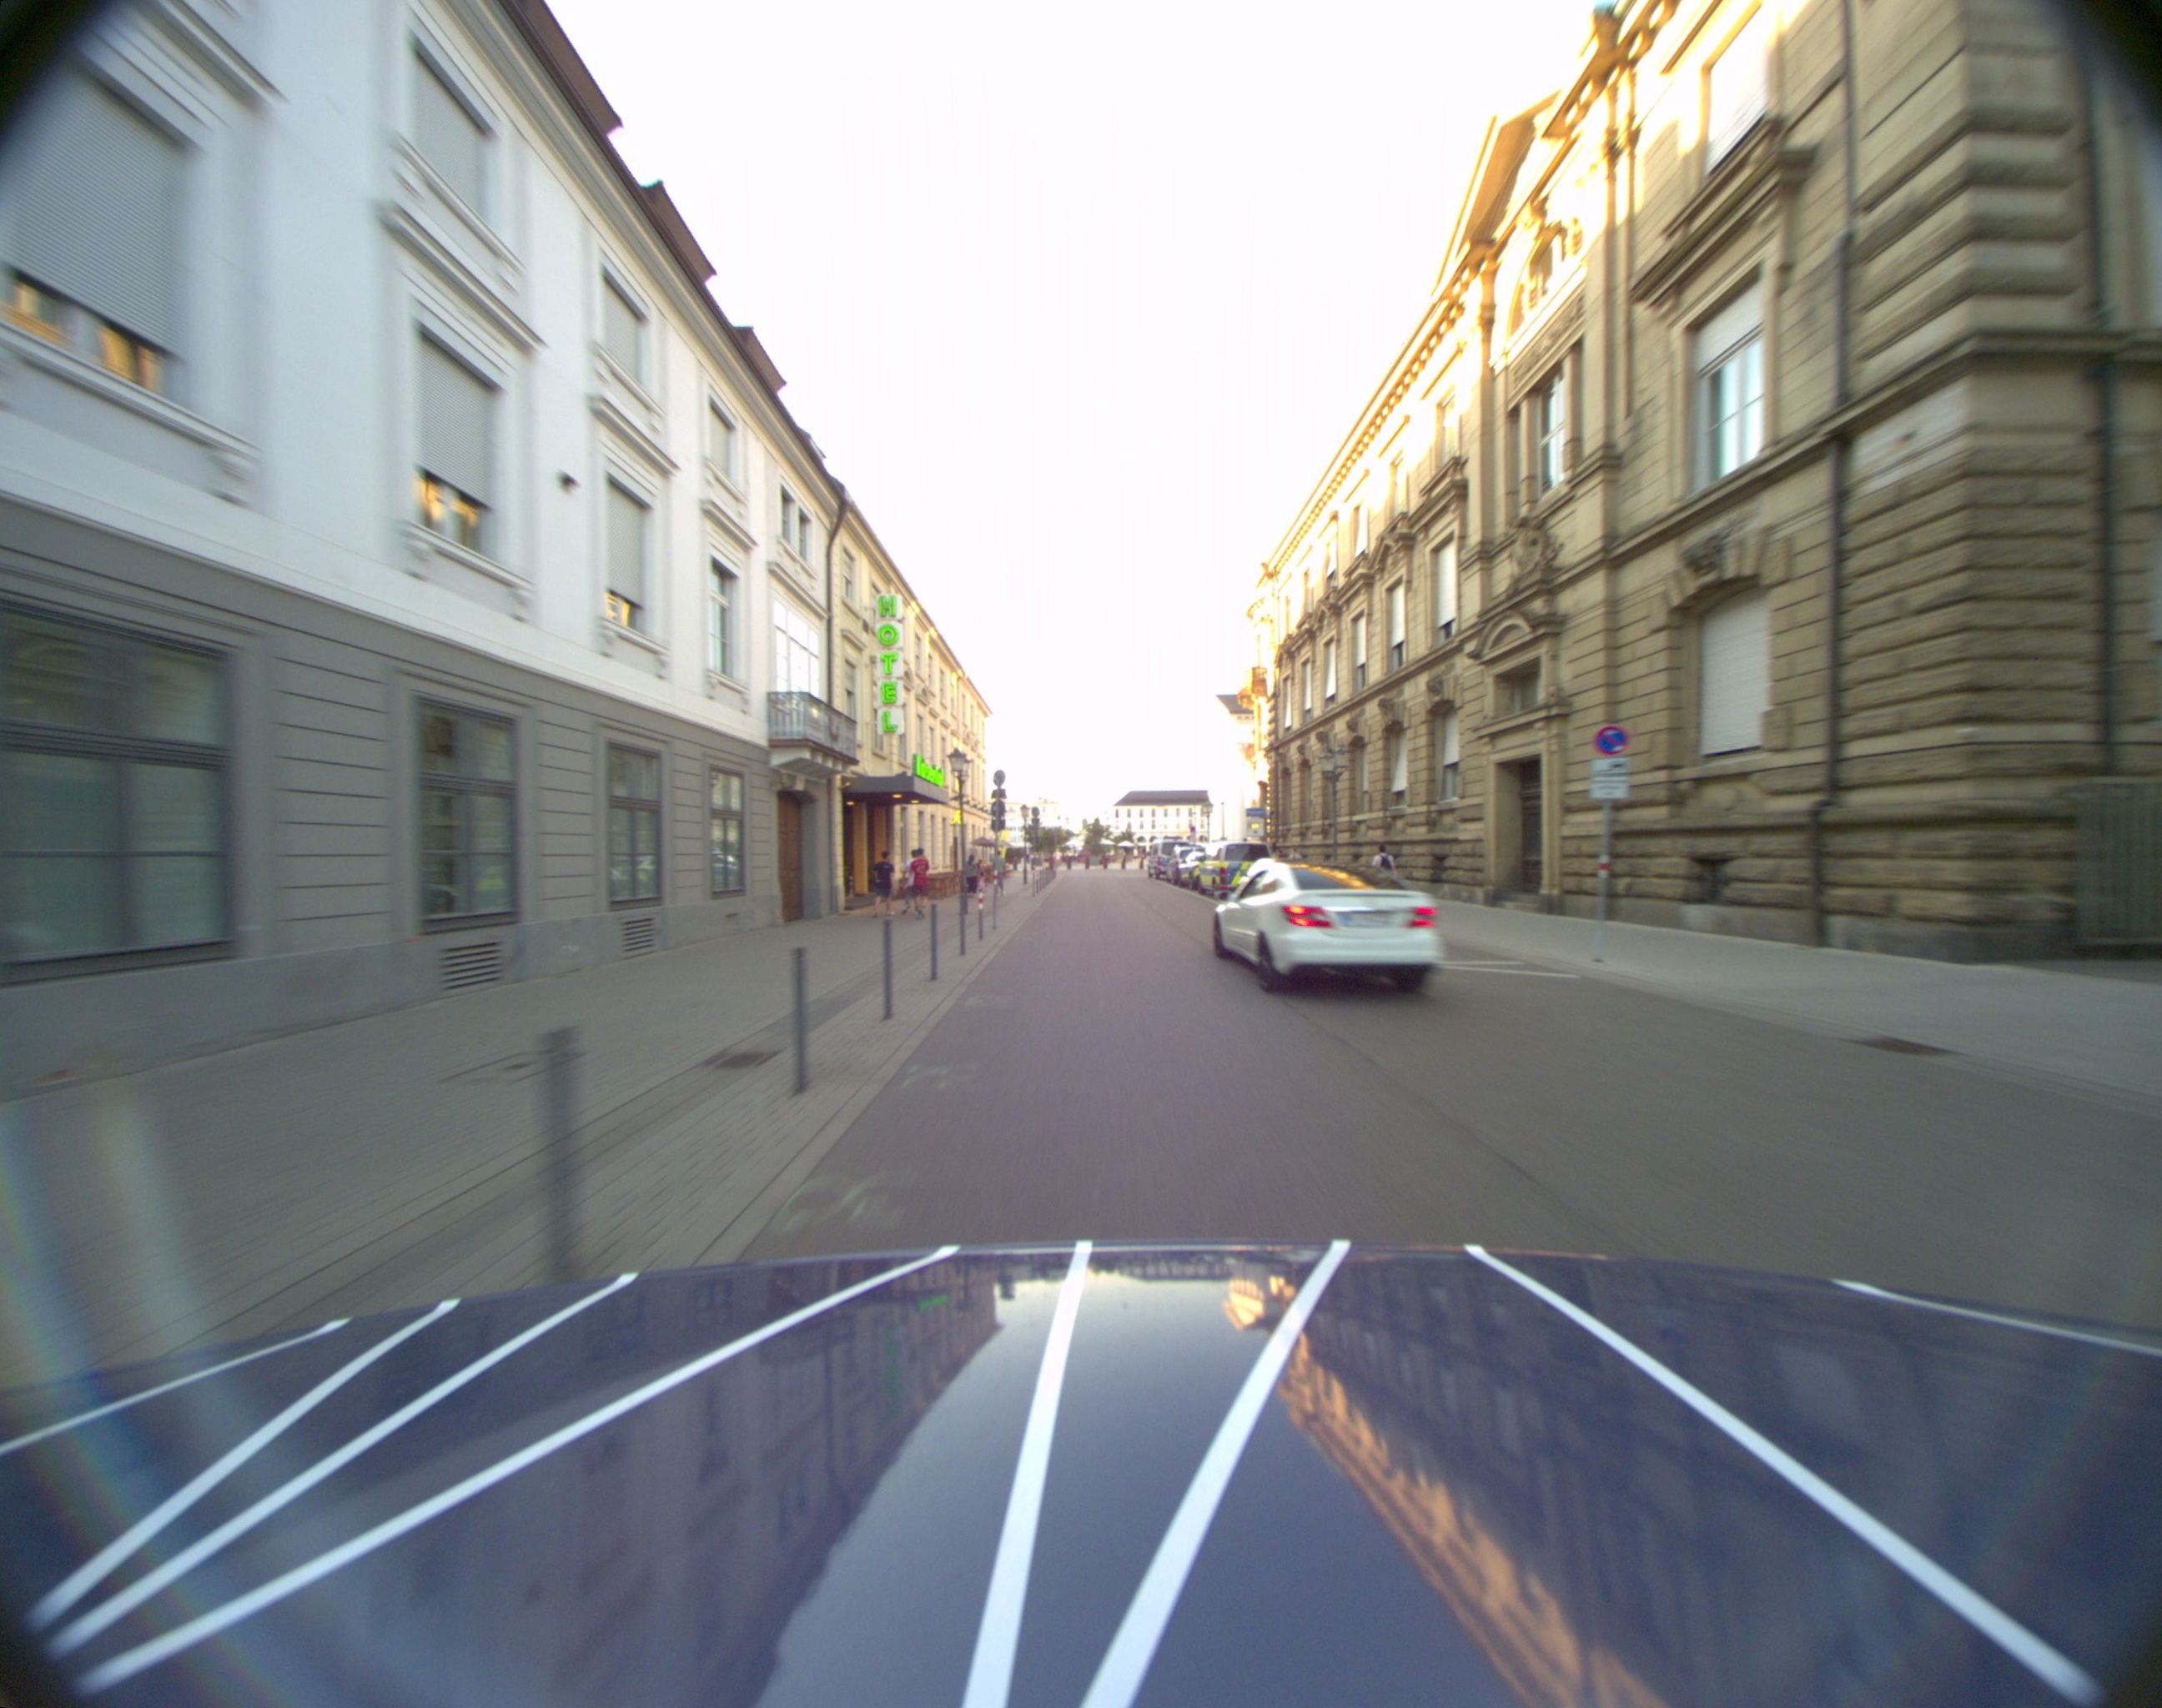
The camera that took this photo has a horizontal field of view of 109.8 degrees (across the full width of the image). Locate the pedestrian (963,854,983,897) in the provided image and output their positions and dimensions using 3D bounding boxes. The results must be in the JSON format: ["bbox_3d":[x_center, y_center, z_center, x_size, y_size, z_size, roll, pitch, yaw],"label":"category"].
[{"bbox_3d":[-4.070,0.811,28.646,0.631,1.592,0.615,-1,1,2],"label":"pedestrian"}]

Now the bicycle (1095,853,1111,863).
[{"bbox_3d":[2.519,0.505,88.290,1.683,1.115,0.846,-1,1,35],"label":"bicycle"}]

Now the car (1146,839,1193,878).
[{"bbox_3d":[5.234,0.243,45.756,1.999,2.158,5.205,-1,0,-2],"label":"car"}]

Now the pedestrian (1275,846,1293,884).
[{"bbox_3d":[9.310,0.500,34.859,0.584,1.720,0.831,-1,1,2],"label":"pedestrian"}]

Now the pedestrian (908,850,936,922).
[{"bbox_3d":[-4.033,0.794,19.257,0.622,1.779,0.912,-1,1,-15],"label":"pedestrian"}]

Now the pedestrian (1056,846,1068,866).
[{"bbox_3d":[-1.694,0.194,67.792,0.667,1.720,0.767,0,1,43],"label":"pedestrian"}]

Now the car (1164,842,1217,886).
[{"bbox_3d":[5.502,0.445,38.766,1.998,2.075,5.206,0,1,1],"label":"car"}]

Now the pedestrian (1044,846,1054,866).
[{"bbox_3d":[-2.848,0.172,67.524,0.607,1.720,0.719,0,1,43],"label":"pedestrian"}]

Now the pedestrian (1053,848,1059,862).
[{"bbox_3d":[-2.756,0.105,84.477,0.683,1.557,0.652,-1,1,-2],"label":"pedestrian"}]

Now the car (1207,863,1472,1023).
[{"bbox_3d":[2.760,0.859,9.151,1.789,1.400,4.087,-1,0,0],"label":"car"}]

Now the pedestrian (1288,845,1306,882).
[{"bbox_3d":[9.993,0.440,35.185,0.608,1.720,0.703,-1,1,2],"label":"pedestrian"}]

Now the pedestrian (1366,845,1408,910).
[{"bbox_3d":[8.423,0.638,20.935,0.715,1.720,0.896,-4,1,2],"label":"pedestrian"}]

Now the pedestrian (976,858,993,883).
[{"bbox_3d":[-5.302,0.909,41.834,0.777,1.351,0.723,-1,1,-16],"label":"pedestrian"}]

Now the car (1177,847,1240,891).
[{"bbox_3d":[5.469,0.594,33.143,1.998,1.742,4.989,0,1,1],"label":"car"}]

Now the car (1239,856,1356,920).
[{"bbox_3d":[5.647,0.827,20.386,1.998,1.486,4.164,0,1,1],"label":"car"}]

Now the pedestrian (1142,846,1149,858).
[{"bbox_3d":[8.992,-0.298,105.824,0.856,1.720,0.881,-1,1,4],"label":"pedestrian"}]

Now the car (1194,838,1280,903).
[{"bbox_3d":[5.399,0.488,26.998,1.999,2.066,4.988,0,1,0],"label":"car"}]

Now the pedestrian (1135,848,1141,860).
[{"bbox_3d":[7.951,0.017,106.230,0.856,1.720,0.881,-1,1,4],"label":"pedestrian"}]

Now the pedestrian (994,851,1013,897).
[{"bbox_3d":[-2.966,0.767,29.082,0.608,1.720,0.558,-1,1,2],"label":"pedestrian"}]

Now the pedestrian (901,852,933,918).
[{"bbox_3d":[-4.411,0.808,20.482,0.750,1.720,0.880,-1,1,-8],"label":"pedestrian"}]

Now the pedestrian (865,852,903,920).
[{"bbox_3d":[-5.140,0.826,19.864,0.715,1.720,0.873,-1,1,3],"label":"pedestrian"}]

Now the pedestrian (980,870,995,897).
[{"bbox_3d":[-3.501,1.115,28.485,0.461,0.974,0.558,-1,1,2],"label":"pedestrian"}]
